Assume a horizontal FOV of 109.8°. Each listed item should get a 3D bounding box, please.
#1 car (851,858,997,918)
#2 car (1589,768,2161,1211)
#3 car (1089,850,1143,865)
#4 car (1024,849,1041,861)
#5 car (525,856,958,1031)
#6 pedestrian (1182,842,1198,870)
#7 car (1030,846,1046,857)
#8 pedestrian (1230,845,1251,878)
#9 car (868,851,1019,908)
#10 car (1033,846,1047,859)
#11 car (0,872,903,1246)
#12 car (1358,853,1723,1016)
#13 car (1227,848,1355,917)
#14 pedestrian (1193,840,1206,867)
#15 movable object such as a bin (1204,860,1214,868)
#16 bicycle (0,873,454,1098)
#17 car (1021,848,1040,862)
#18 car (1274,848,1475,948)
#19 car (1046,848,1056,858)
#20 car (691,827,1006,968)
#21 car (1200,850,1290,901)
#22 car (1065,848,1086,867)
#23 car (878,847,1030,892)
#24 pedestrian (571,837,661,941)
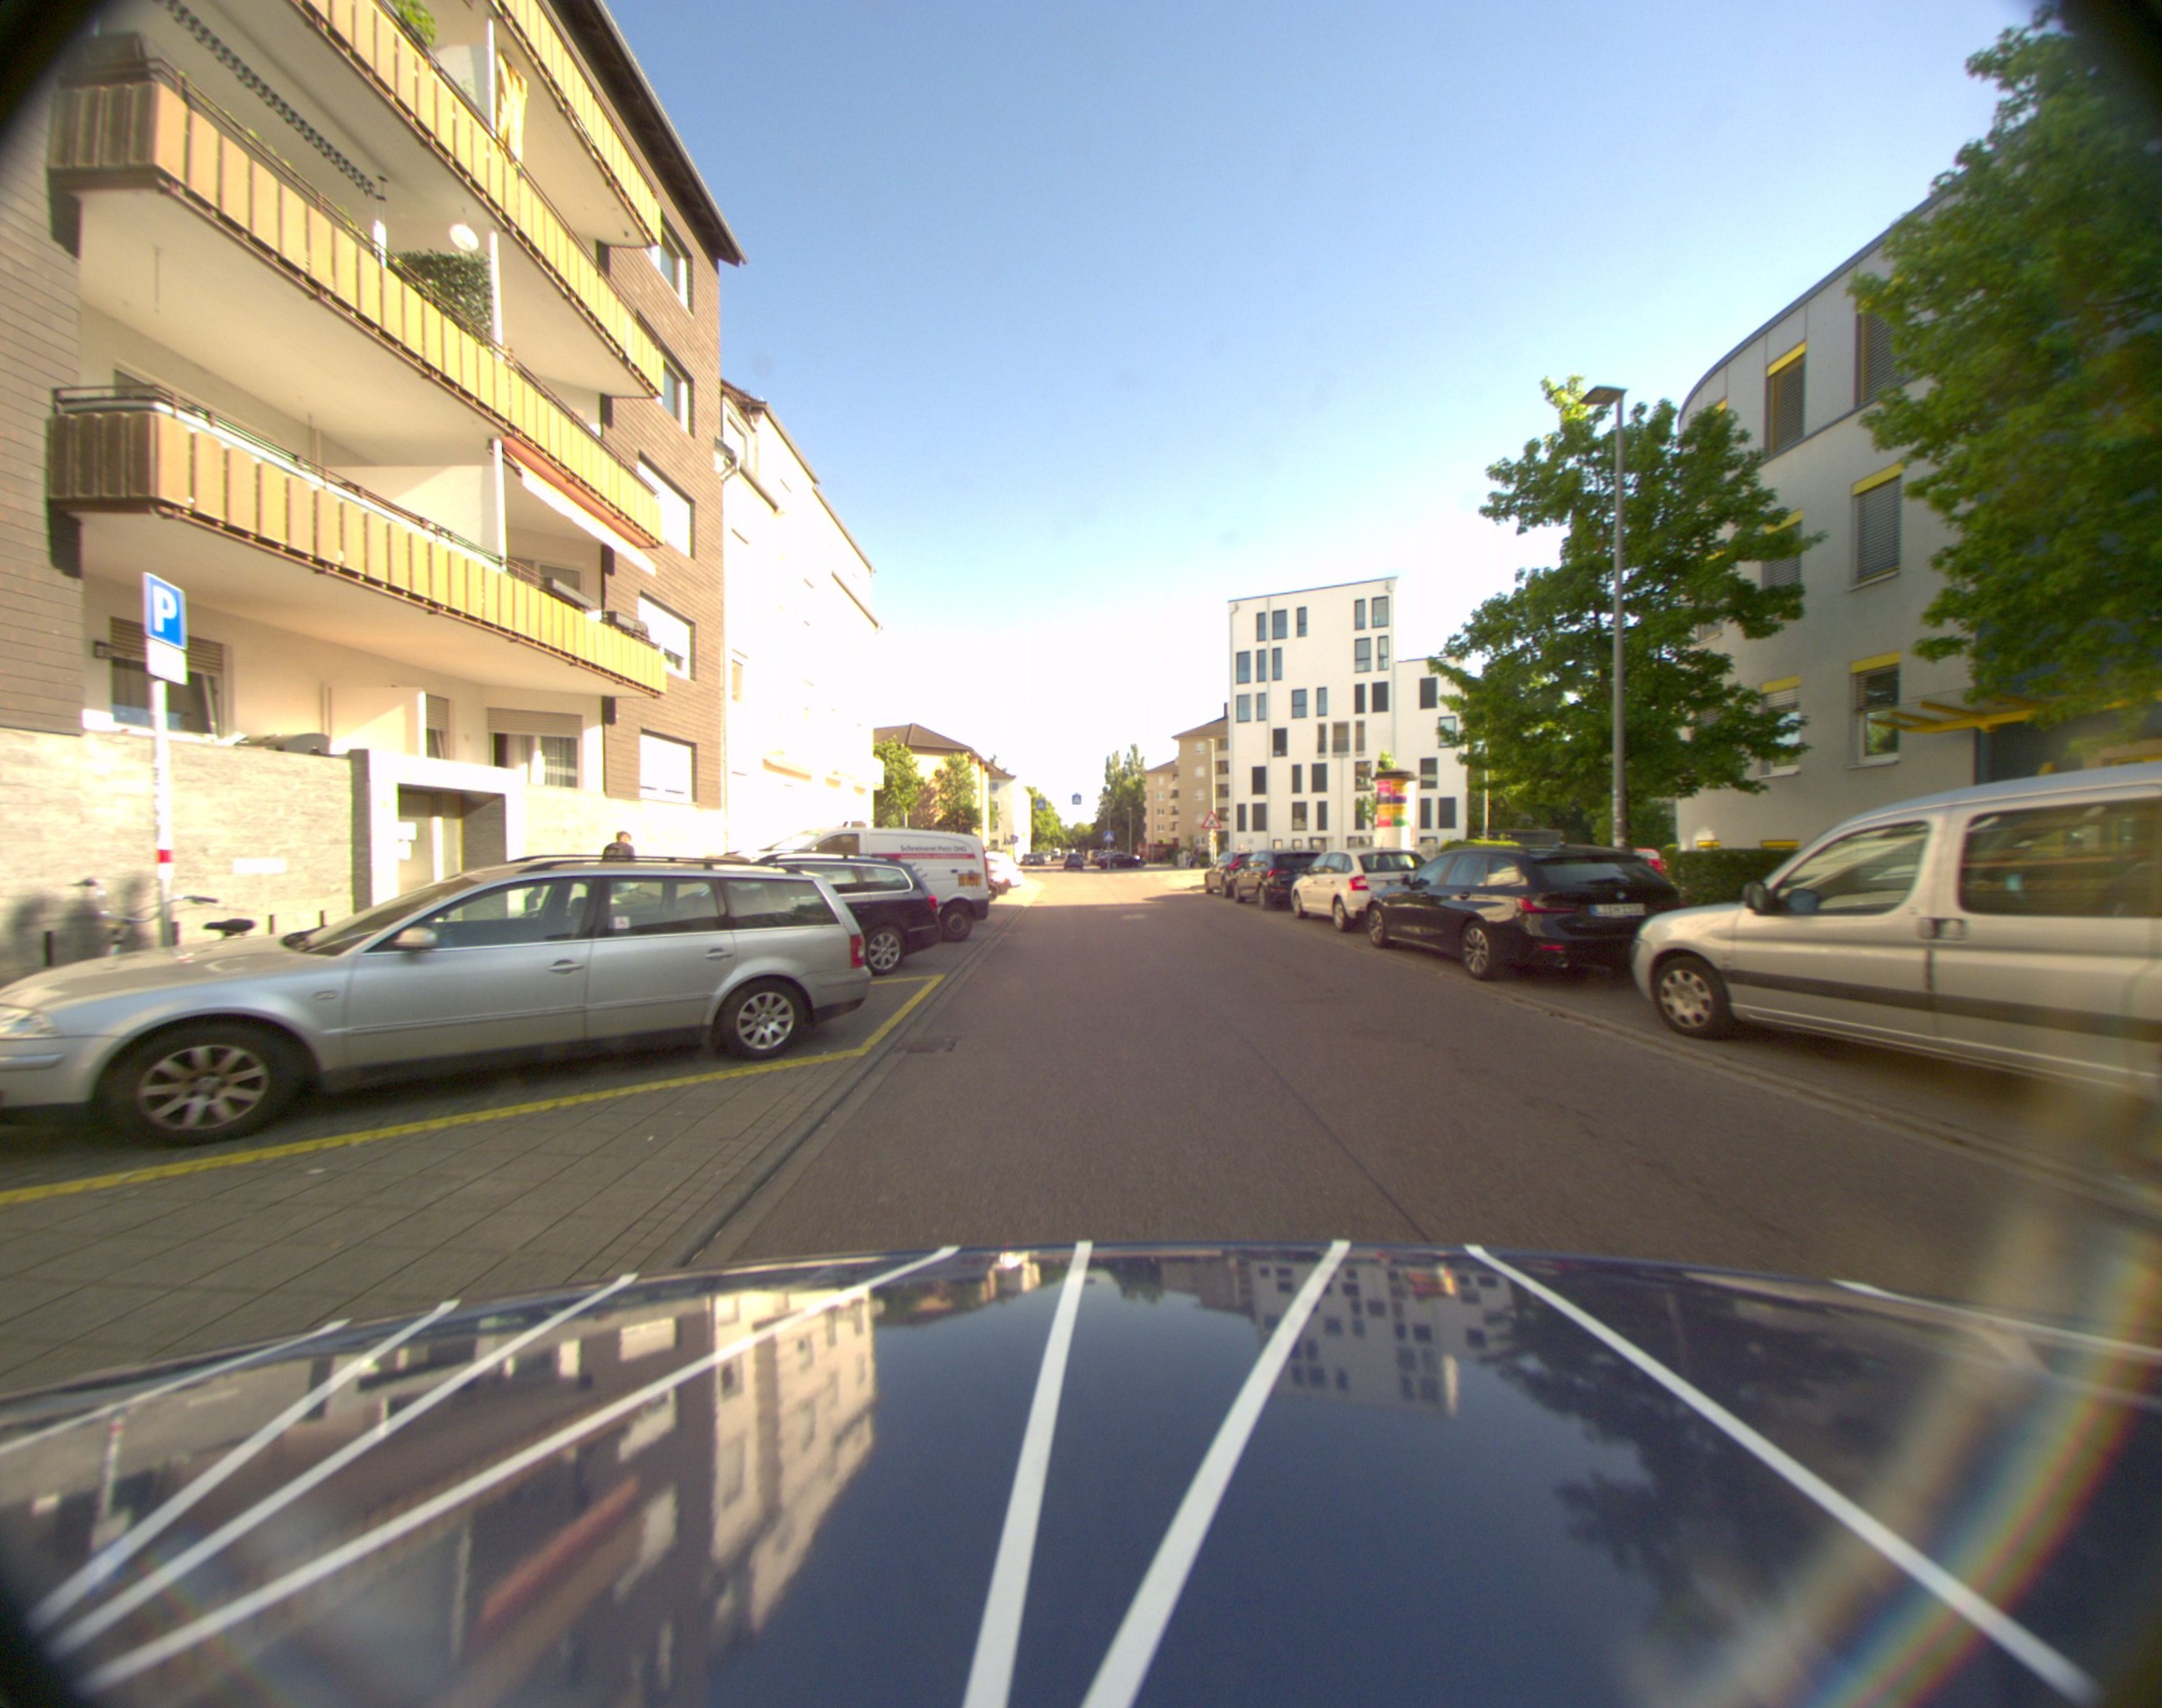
[{"bbox_3d":[-4.057,0.822,19.865,3.404,1.380,1.536,-1,1,-40],"label":"car"},{"bbox_3d":[5.252,0.544,4.318,1.692,1.828,4.340,-1,0,-2],"label":"car"},{"bbox_3d":[3.265,0.336,70.024,4.570,1.160,1.995,-2,1,-29],"label":"car"},{"bbox_3d":[-5.896,0.085,92.302,1.999,1.237,3.996,-1,3,-4],"label":"car"},{"bbox_3d":[-3.762,0.812,9.017,1.751,1.504,4.336,2,2,45],"label":"car"},{"bbox_3d":[8.162,0.155,56.866,0.776,2.108,0.957,-2,1,-21],"label":"pedestrian"},{"bbox_3d":[-5.860,-0.330,103.546,1.999,1.455,3.999,0,0,-2],"label":"car"},{"bbox_3d":[8.450,0.394,40.288,0.977,1.704,0.875,0,1,22],"label":"pedestrian"},{"bbox_3d":[-4.152,0.711,23.203,4.179,1.489,1.818,-1,3,-34],"label":"car"},{"bbox_3d":[-5.847,-0.189,108.662,1.845,1.747,3.998,1,1,-3],"label":"car"},{"bbox_3d":[-3.759,0.950,5.338,4.656,1.458,1.685,-1,2,-43],"label":"car"},{"bbox_3d":[5.027,0.732,9.234,1.737,1.431,4.611,-1,1,1],"label":"car"},{"bbox_3d":[5.159,0.635,19.320,1.913,1.470,4.378,-1,1,-2],"label":"car"},{"bbox_3d":[8.411,-0.021,53.802,0.789,1.875,0.847,0,3,15],"label":"pedestrian"},{"bbox_3d":[9.518,0.738,56.651,0.273,0.538,0.684,-2,2,-44],"label":"movable object such as a bin"},{"bbox_3d":[-6.002,0.779,5.412,0.704,1.246,2.266,-1,-1,27],"label":"bicycle"},{"bbox_3d":[-5.803,0.101,86.977,1.909,1.506,3.997,0,0,-7],"label":"car"},{"bbox_3d":[5.274,0.680,14.421,1.913,1.521,4.623,-1,1,-2],"label":"car"},{"bbox_3d":[-5.704,-0.251,144.824,1.999,1.685,3.997,-1,2,-2],"label":"car"},{"bbox_3d":[-3.728,0.603,12.661,4.539,1.887,2.043,1,3,-41],"label":"car"},{"bbox_3d":[5.083,0.611,24.079,1.794,1.402,4.222,-1,1,-2],"label":"car"},{"bbox_3d":[-0.492,0.287,70.295,1.841,1.496,4.135,0,3,0],"label":"car"},{"bbox_3d":[-4.407,0.574,26.726,4.884,1.455,1.968,2,-1,-35],"label":"car"},{"bbox_3d":[-7.336,0.529,12.022,0.834,1.584,0.889,1,1,5],"label":"pedestrian"}]
